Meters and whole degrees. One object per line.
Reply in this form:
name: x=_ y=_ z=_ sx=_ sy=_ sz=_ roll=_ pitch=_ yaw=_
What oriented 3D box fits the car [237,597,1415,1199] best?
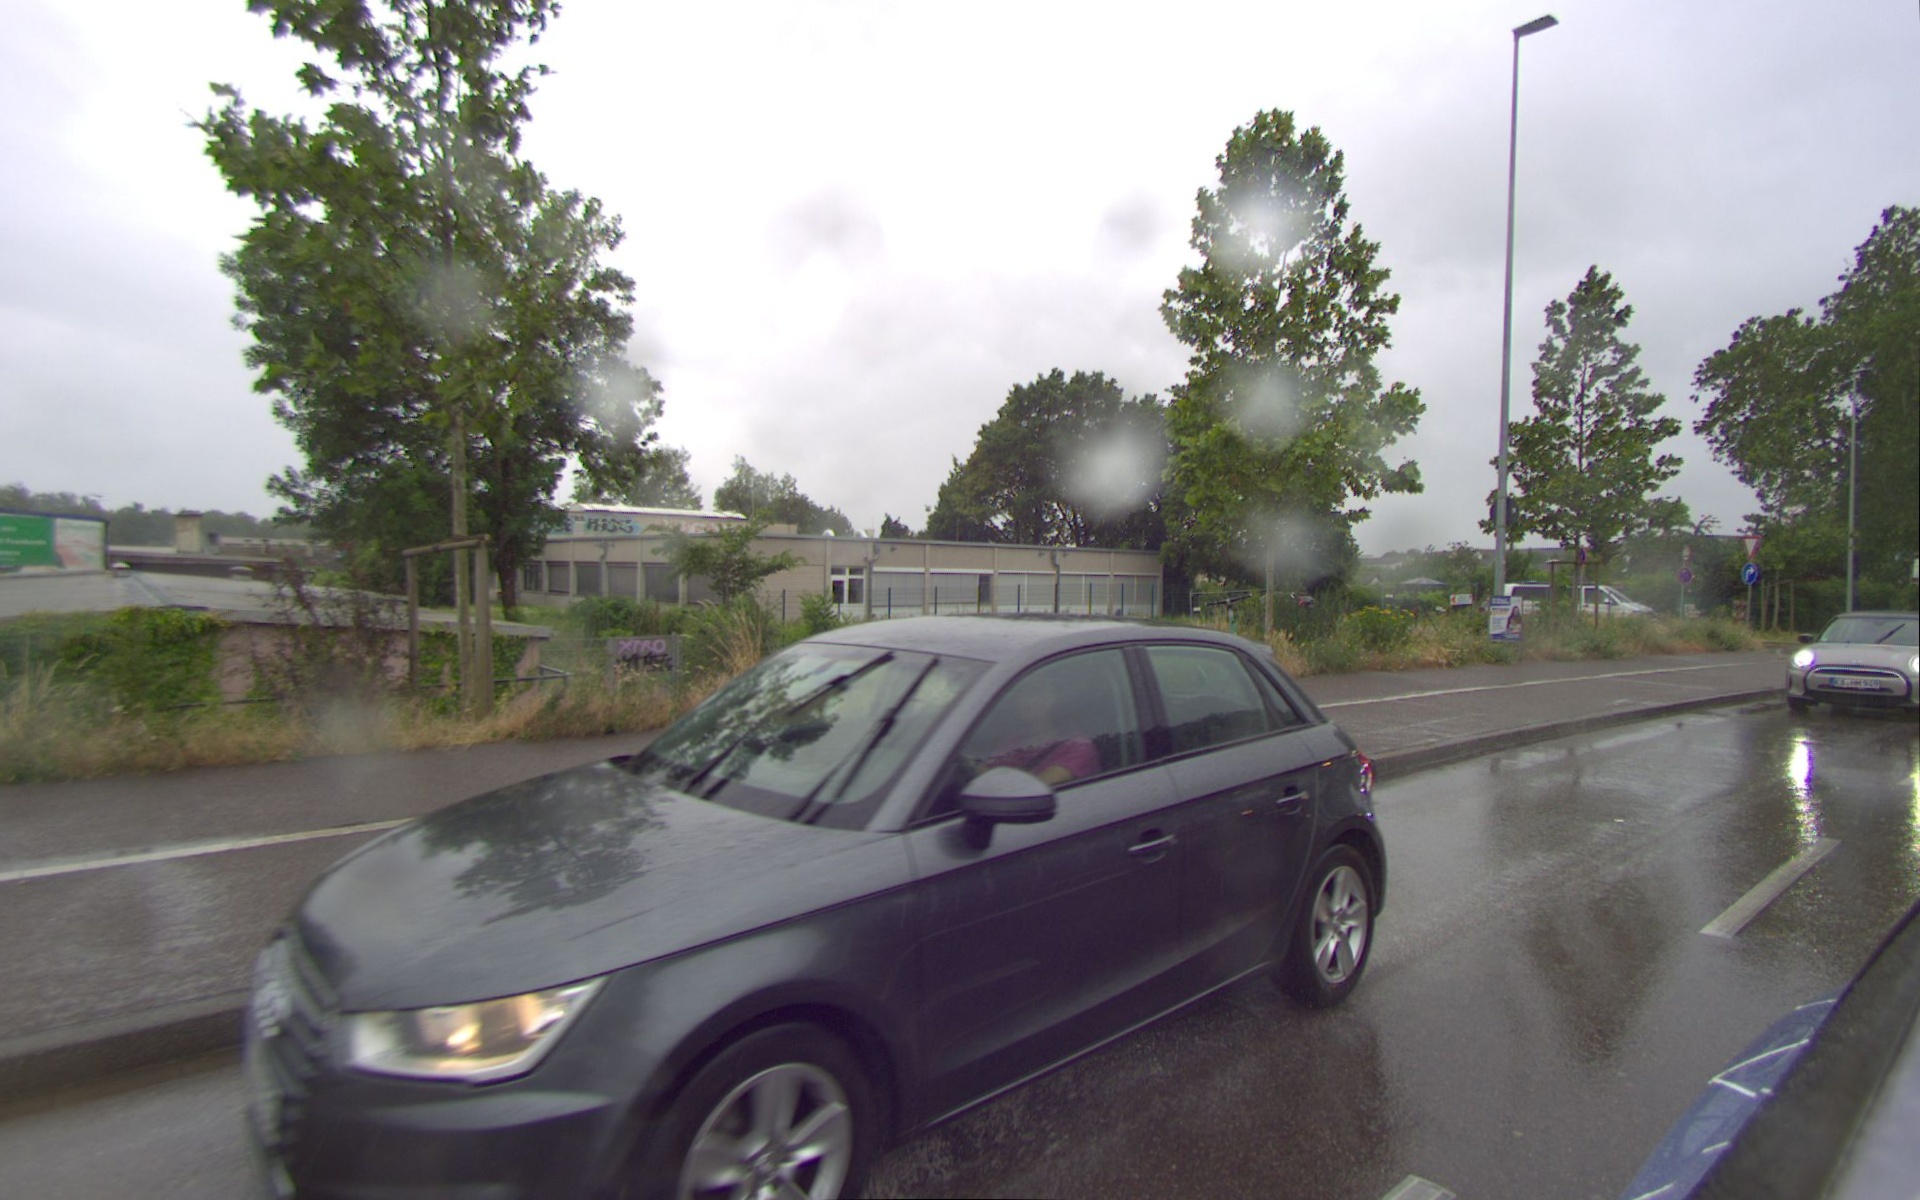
car: x=-0.117 y=0.716 z=3.339 sx=3.568 sy=1.383 sz=1.600 roll=0 pitch=2 yaw=-41

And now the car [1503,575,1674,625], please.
car: x=23.714 y=-0.017 z=38.374 sx=1.972 sy=1.747 sz=5.168 roll=-1 pitch=0 yaw=-42

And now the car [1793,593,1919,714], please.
car: x=13.471 y=0.668 z=14.472 sx=3.810 sy=1.527 sz=1.706 roll=-1 pitch=0 yaw=-40

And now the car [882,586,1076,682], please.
car: x=0.203 y=0.459 z=15.589 sx=1.319 sy=1.304 sz=3.246 roll=0 pitch=0 yaw=-35

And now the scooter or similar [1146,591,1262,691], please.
scooter or similar: x=3.186 y=0.491 z=13.105 sx=1.878 sy=1.214 sz=0.367 roll=0 pitch=0 yaw=-38

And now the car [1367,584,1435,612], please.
car: x=26.440 y=-0.109 z=60.786 sx=1.319 sy=1.604 sz=3.555 roll=0 pitch=0 yaw=-35
